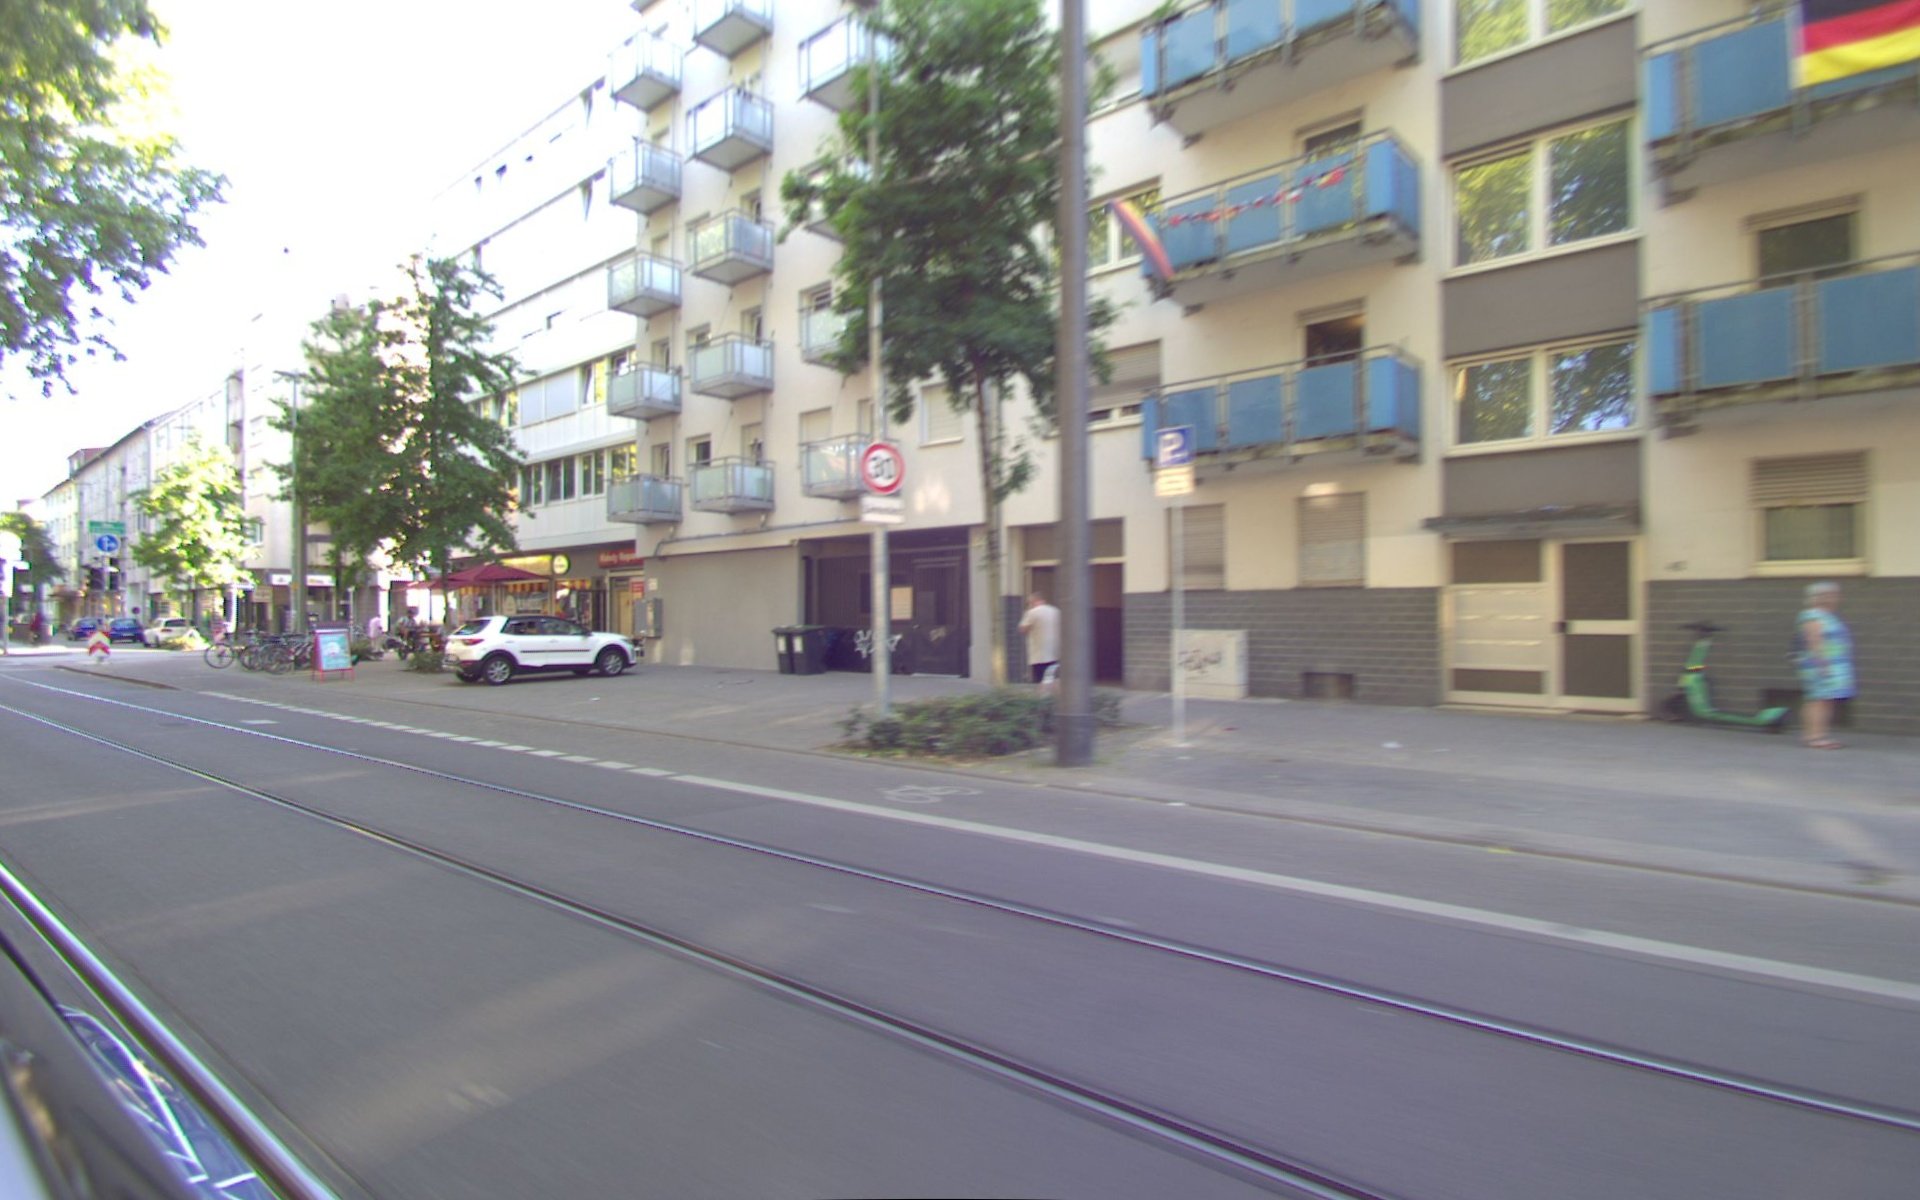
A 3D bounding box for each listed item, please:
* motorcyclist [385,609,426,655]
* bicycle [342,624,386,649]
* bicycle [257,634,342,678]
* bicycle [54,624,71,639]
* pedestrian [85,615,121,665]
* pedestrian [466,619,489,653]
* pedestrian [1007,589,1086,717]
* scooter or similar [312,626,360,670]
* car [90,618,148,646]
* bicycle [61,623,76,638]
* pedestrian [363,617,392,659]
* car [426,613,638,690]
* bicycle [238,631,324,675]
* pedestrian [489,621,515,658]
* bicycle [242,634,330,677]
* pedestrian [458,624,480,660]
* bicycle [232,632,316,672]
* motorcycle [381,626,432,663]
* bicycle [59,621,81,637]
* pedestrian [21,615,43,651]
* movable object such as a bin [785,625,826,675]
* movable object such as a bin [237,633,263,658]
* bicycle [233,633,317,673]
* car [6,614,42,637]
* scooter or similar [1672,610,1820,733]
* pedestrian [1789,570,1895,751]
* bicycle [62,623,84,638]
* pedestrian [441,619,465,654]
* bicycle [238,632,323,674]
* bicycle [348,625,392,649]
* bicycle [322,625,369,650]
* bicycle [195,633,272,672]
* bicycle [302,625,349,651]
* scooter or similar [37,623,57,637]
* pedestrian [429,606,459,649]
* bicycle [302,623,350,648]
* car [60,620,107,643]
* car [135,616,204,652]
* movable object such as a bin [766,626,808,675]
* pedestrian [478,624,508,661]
[{"bbox_3d":[-17.939,1.042,32.753,1.016,1.451,0.864,-1,-2,41],"label":"motorcyclist"},{"bbox_3d":[-28.814,1.757,48.955,0.571,1.165,1.768,-1,-2,35],"label":"bicycle"},{"bbox_3d":[-16.688,1.402,25.595,0.657,1.015,1.675,-1,0,37],"label":"bicycle"},{"bbox_3d":[-72.207,2.513,81.432,2.034,1.165,0.565,-1,-2,36],"label":"bicycle"},{"bbox_3d":[-28.927,1.343,34.150,0.767,1.684,0.750,-1,-2,36],"label":"pedestrian"},{"bbox_3d":[-16.995,1.259,35.635,0.507,1.207,0.562,0,-2,7],"label":"pedestrian"},{"bbox_3d":[1.203,0.715,14.029,0.794,1.704,0.756,-1,-1,40],"label":"pedestrian"},{"bbox_3d":[-17.883,1.363,28.996,0.498,1.185,1.068,-1,0,40],"label":"scooter or similar"},{"bbox_3d":[-48.337,1.815,58.162,4.388,1.556,1.935,-1,-3,42],"label":"car"},{"bbox_3d":[-70.683,2.395,80.248,1.748,1.165,0.488,-1,-2,36],"label":"bicycle"},{"bbox_3d":[-22.442,1.458,38.976,0.767,1.568,0.718,-1,-2,36],"label":"pedestrian"},{"bbox_3d":[-9.491,1.076,22.615,1.852,1.486,3.968,-1,0,44],"label":"car"},{"bbox_3d":[-18.196,1.398,27.159,0.657,1.072,1.812,-1,0,37],"label":"bicycle"},{"bbox_3d":[-14.806,1.273,32.697,0.558,1.207,0.511,0,-2,13],"label":"pedestrian"},{"bbox_3d":[-17.653,1.429,26.523,0.657,1.015,1.812,-1,0,37],"label":"bicycle"},{"bbox_3d":[-16.550,1.416,34.113,0.564,1.207,0.506,-2,-2,43],"label":"pedestrian"},{"bbox_3d":[-19.118,1.442,28.238,0.657,1.015,1.812,-1,0,37],"label":"bicycle"},{"bbox_3d":[-17.891,1.423,32.717,1.914,1.173,0.840,-1,-2,42],"label":"motorcycle"},{"bbox_3d":[-68.967,2.245,78.382,2.020,1.165,0.555,-1,-2,27],"label":"bicycle"},{"bbox_3d":[-41.480,1.463,45.223,0.772,1.597,0.647,-1,-2,42],"label":"pedestrian"},{"bbox_3d":[-3.349,1.079,21.933,0.574,1.063,0.665,-1,-2,43],"label":"movable object such as a bin"},{"bbox_3d":[-26.825,1.722,38.226,0.646,0.939,0.536,-1,-2,25],"label":"movable object such as a bin"},{"bbox_3d":[-18.851,1.439,27.875,0.657,1.015,1.812,-1,0,37],"label":"bicycle"},{"bbox_3d":[-81.631,2.226,88.239,4.047,1.949,1.785,-1,-2,41],"label":"car"},{"bbox_3d":[8.724,0.772,11.265,0.370,1.299,1.239,3,-3,-41],"label":"scooter or similar"},{"bbox_3d":[8.720,0.578,10.035,0.748,1.704,0.657,-1,-1,40],"label":"pedestrian"},{"bbox_3d":[-69.081,2.404,78.807,2.020,1.165,0.555,-1,-2,27],"label":"bicycle"},{"bbox_3d":[-17.717,1.256,35.345,0.560,1.207,0.509,-1,-2,26],"label":"pedestrian"},{"bbox_3d":[-18.392,1.420,27.419,0.657,1.015,1.812,-1,0,37],"label":"bicycle"},{"bbox_3d":[-28.208,1.761,48.414,1.760,1.165,0.573,1,-2,-38],"label":"bicycle"},{"bbox_3d":[-28.755,1.750,47.375,1.759,1.165,0.574,0,-1,-17],"label":"bicycle"},{"bbox_3d":[-20.630,1.461,28.756,0.657,1.015,1.675,-1,0,37],"label":"bicycle"},{"bbox_3d":[-29.299,1.746,46.749,1.759,1.165,0.574,0,-1,-17],"label":"bicycle"},{"bbox_3d":[-75.030,2.482,83.142,1.259,1.183,0.445,0,-2,5],"label":"scooter or similar"},{"bbox_3d":[-20.172,1.084,39.542,0.748,1.672,0.760,-1,-2,35],"label":"pedestrian"},{"bbox_3d":[-29.802,1.645,47.612,1.837,1.165,0.572,1,-2,-44],"label":"bicycle"},{"bbox_3d":[-56.800,2.021,65.533,4.281,1.475,1.775,-1,-3,42],"label":"car"},{"bbox_3d":[-39.236,1.654,50.189,4.355,1.663,1.858,-1,0,41],"label":"car"},{"bbox_3d":[-3.821,1.108,22.363,0.622,1.063,0.670,-1,-2,43],"label":"movable object such as a bin"},{"bbox_3d":[-15.393,1.398,33.338,0.684,1.207,0.601,0,-2,7],"label":"pedestrian"}]
